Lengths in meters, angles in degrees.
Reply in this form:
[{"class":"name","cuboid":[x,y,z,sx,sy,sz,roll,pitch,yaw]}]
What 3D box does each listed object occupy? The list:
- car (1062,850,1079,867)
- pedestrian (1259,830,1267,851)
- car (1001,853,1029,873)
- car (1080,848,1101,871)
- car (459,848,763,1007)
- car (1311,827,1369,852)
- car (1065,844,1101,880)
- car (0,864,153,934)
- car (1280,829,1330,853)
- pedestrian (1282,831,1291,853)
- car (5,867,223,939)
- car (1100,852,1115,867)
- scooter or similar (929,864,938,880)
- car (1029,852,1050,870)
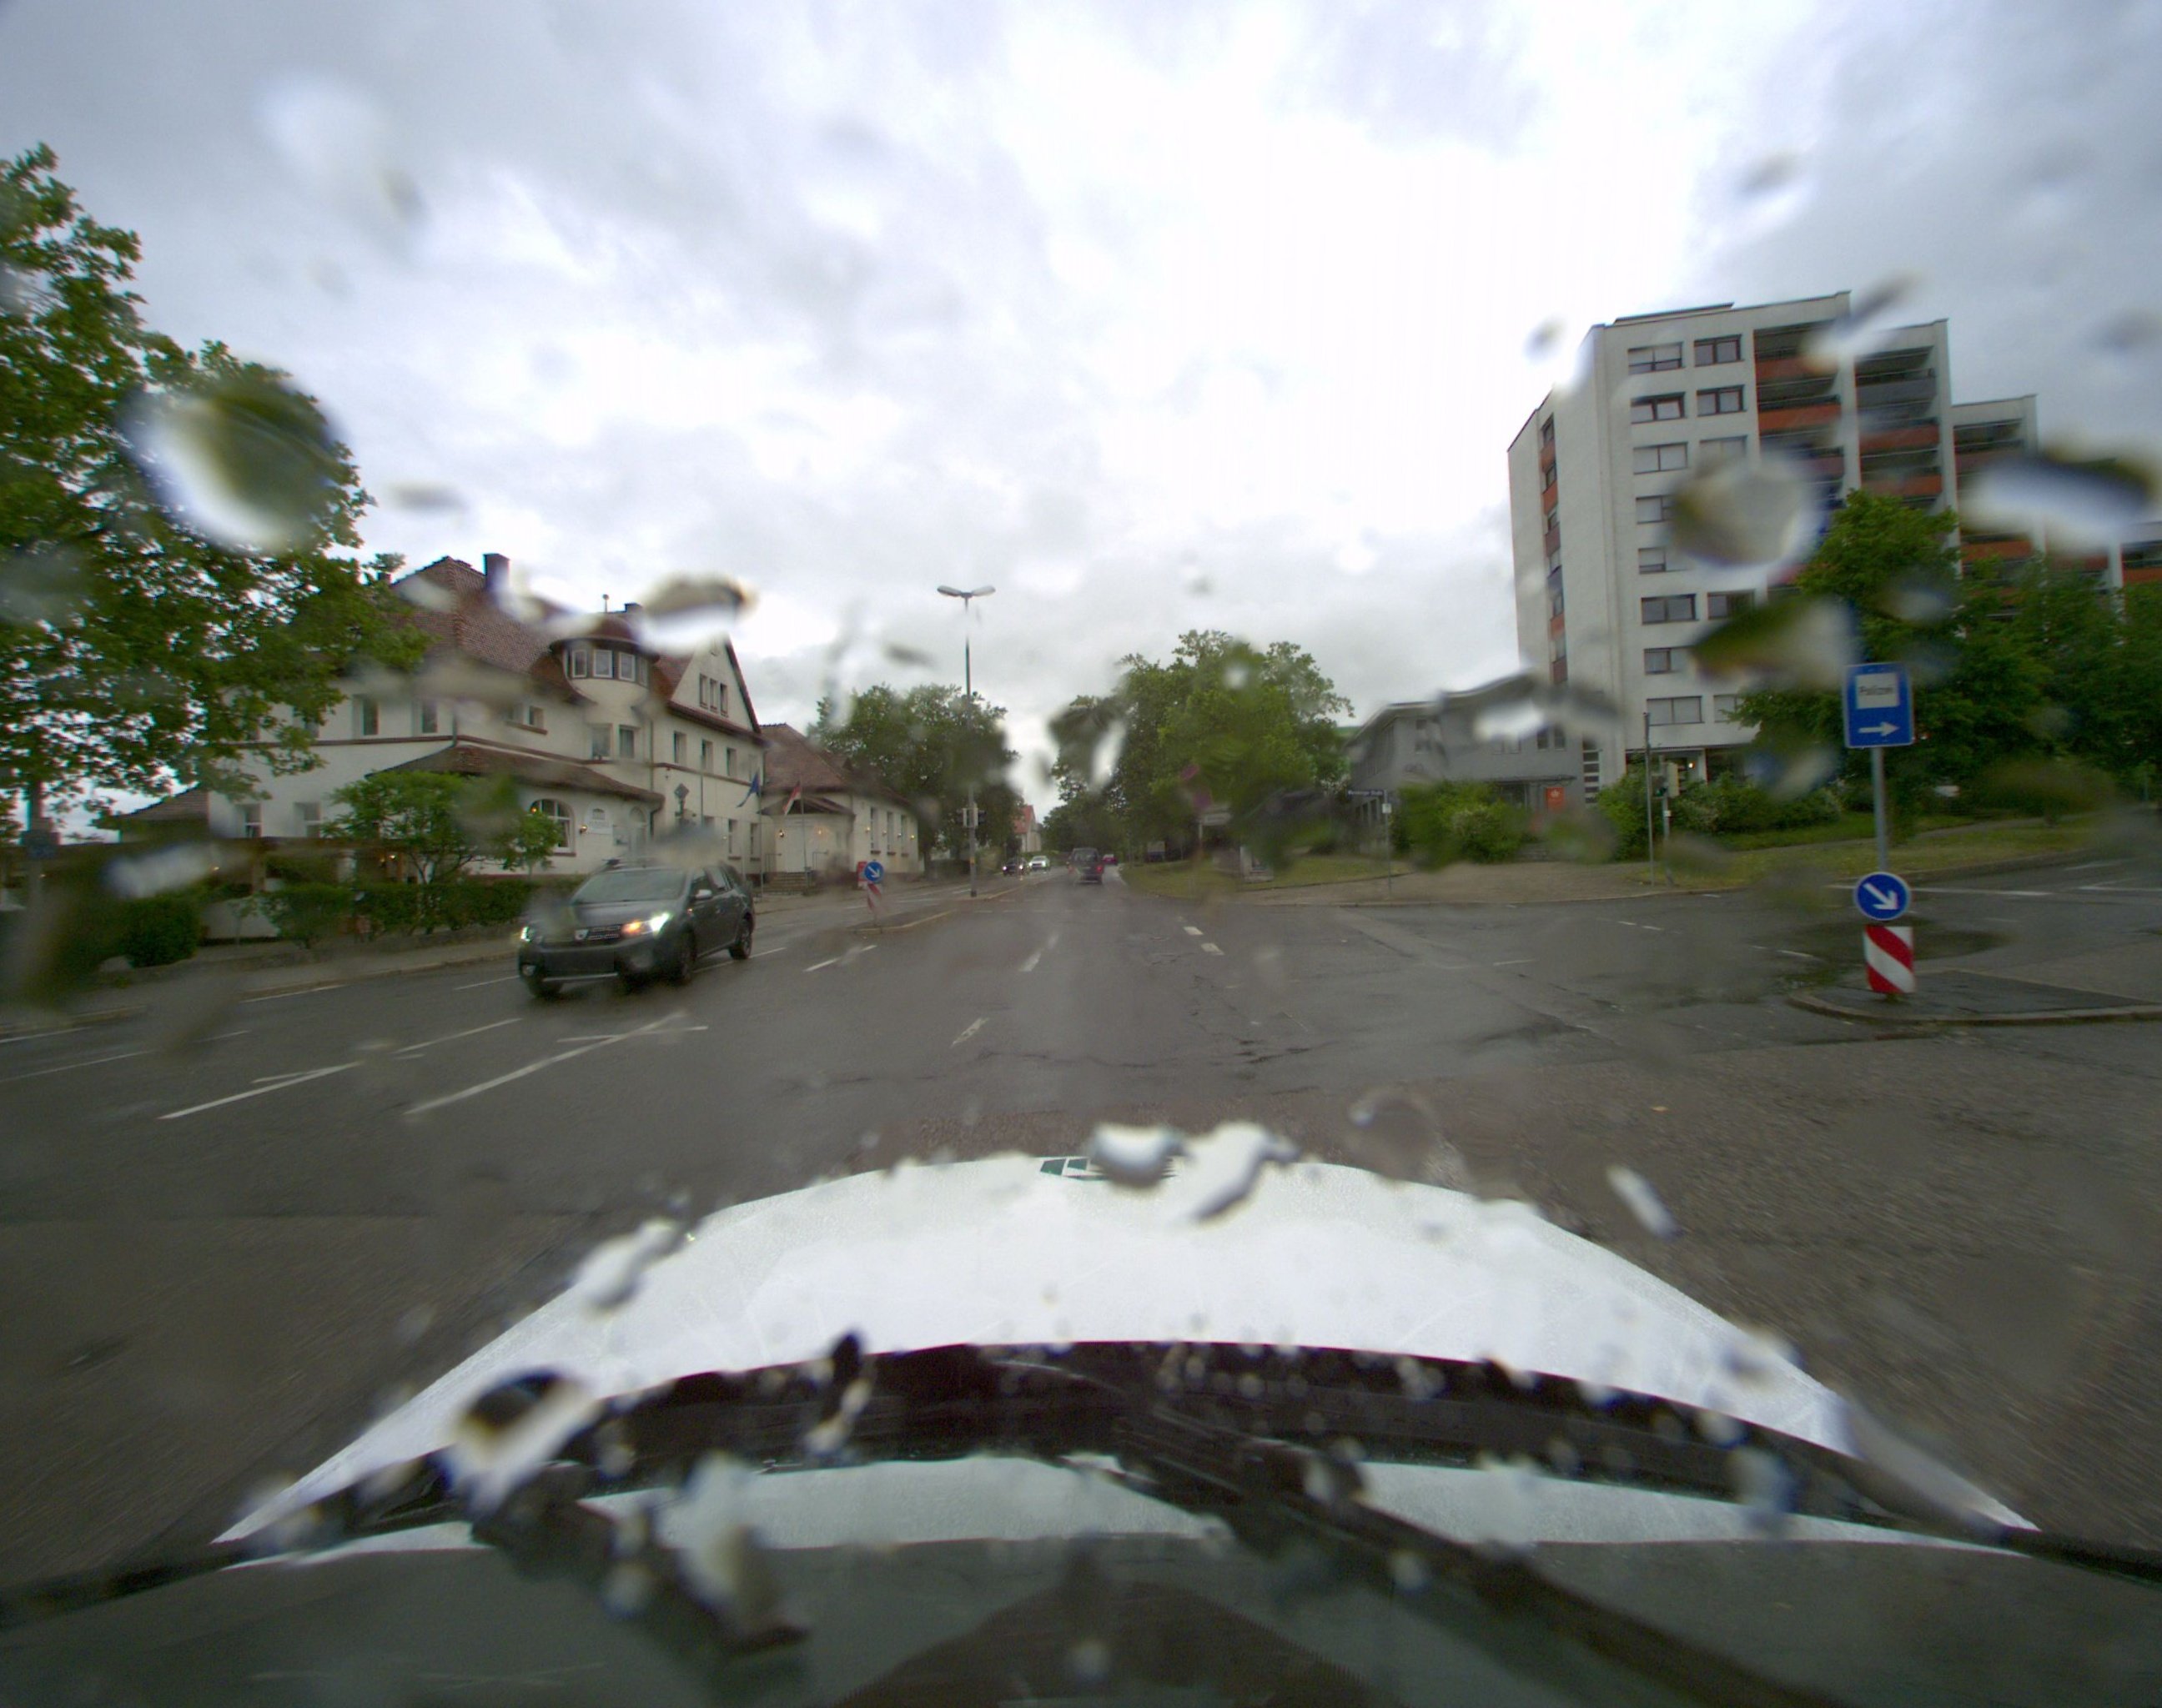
[{"class":"car","cuboid":[-1.144,0.461,89.943,1.741,1.671,3.709,-2,1,2]},{"class":"pedestrian","cuboid":[15.412,-1.125,69.035,0.555,1.763,0.728,0,-1,-1]},{"class":"car","cuboid":[-5.514,0.729,68.022,1.786,1.527,4.211,-2,1,2]},{"class":"car","cuboid":[0.782,0.460,65.491,1.699,1.808,3.685,0,0,1]},{"class":"car","cuboid":[-5.832,0.753,10.871,1.898,1.577,4.490,-2,1,-8]},{"class":"car","cuboid":[19.226,-1.076,60.664,3.960,1.816,2.007,0,0,12]},{"class":"car","cuboid":[0.159,0.388,42.778,1.806,1.808,3.757,0,0,1]},{"class":"car","cuboid":[-32.436,1.330,25.575,1.987,2.014,3.999,0,0,0]},{"class":"car","cuboid":[18.617,-1.088,67.940,3.959,1.931,2.007,0,0,13]},{"class":"pedestrian","cuboid":[15.393,-0.881,61.066,0.597,1.617,0.527,0,-1,10]},{"class":"car","cuboid":[-29.836,1.423,25.361,1.987,2.014,3.999,0,0,0]},{"class":"car","cuboid":[3.413,0.679,104.546,1.986,1.882,4.001,0,0,2]},{"class":"scooter or similar","cuboid":[-10.102,1.230,55.853,0.388,1.064,1.410,0,0,0]},{"class":"car","cuboid":[-4.283,0.688,84.995,1.823,1.671,4.053,-2,1,2]}]
